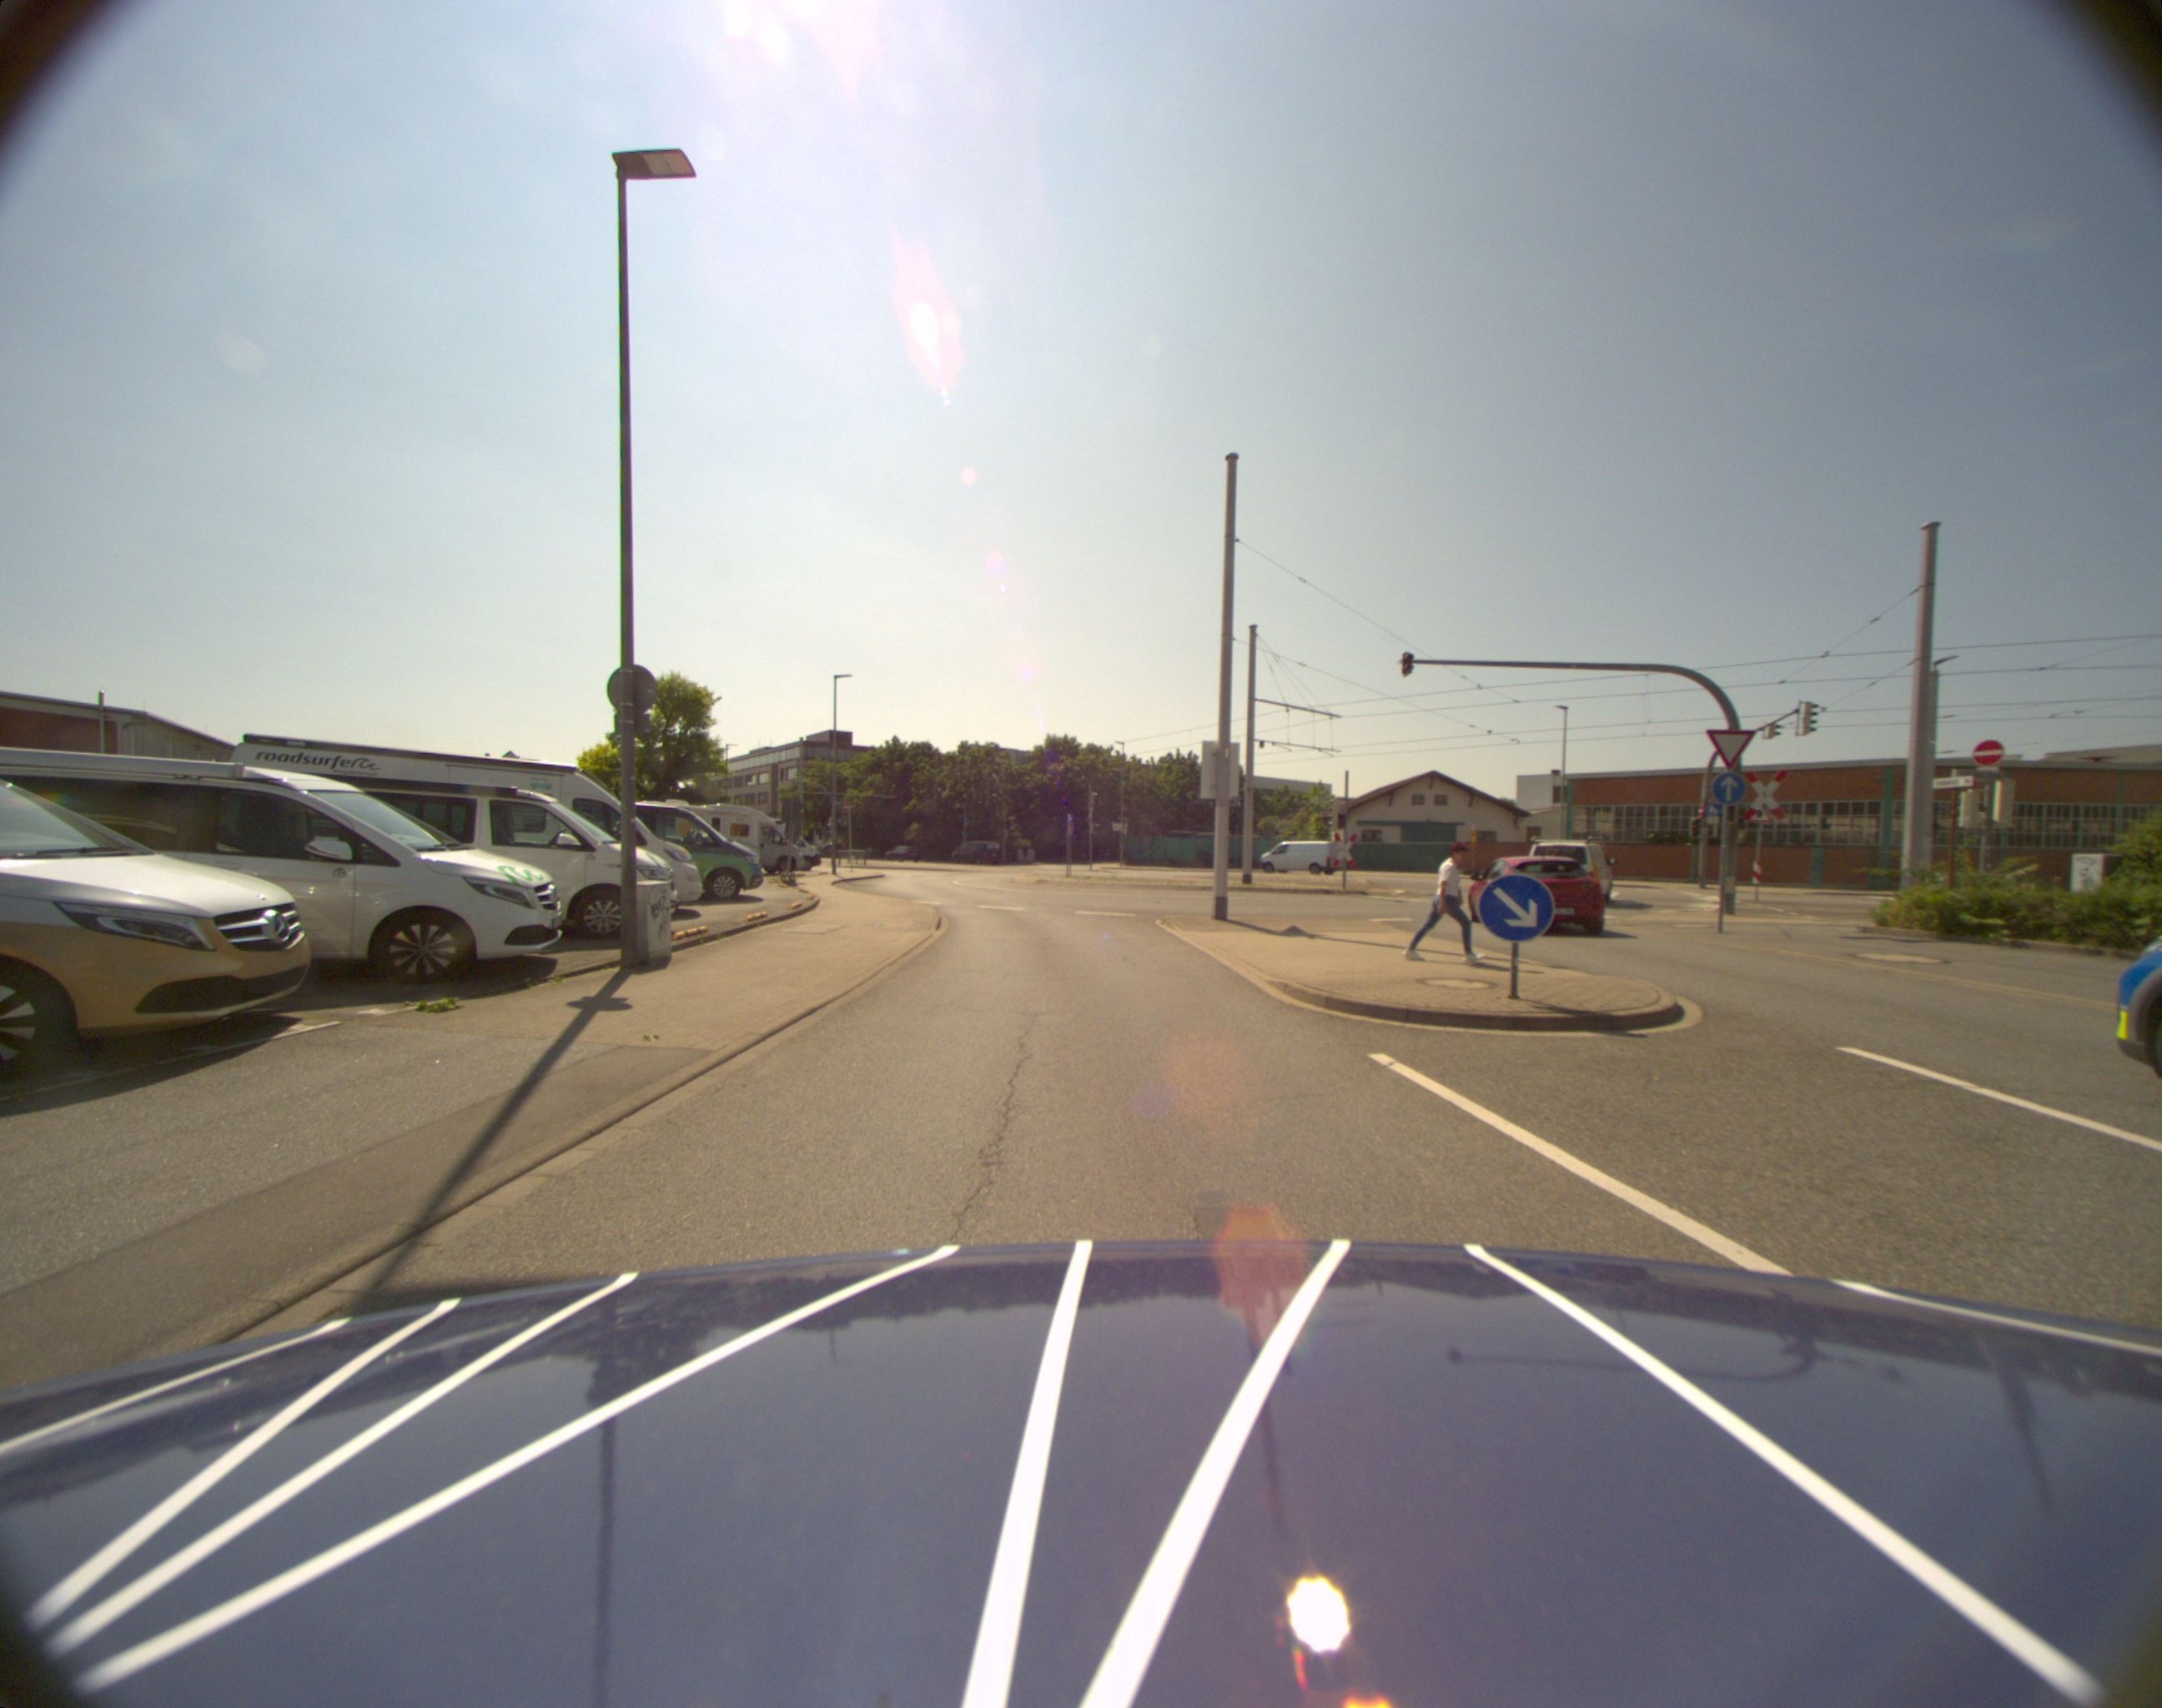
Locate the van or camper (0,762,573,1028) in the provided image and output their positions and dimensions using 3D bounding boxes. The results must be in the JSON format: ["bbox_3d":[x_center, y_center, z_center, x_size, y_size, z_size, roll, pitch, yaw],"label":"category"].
[{"bbox_3d":[-7.894,0.304,7.096,4.990,2.034,2.037,1,2,-26],"label":"van or camper"}]

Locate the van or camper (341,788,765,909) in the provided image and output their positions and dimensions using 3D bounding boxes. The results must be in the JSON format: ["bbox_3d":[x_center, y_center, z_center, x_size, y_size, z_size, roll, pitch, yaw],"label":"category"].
[{"bbox_3d":[-10.616,-0.083,16.161,6.860,2.122,2.778,1,1,-30],"label":"van or camper"}]

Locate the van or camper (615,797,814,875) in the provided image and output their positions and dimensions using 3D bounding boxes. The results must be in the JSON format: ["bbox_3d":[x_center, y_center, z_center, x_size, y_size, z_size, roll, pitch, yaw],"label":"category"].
[{"bbox_3d":[-14.990,-0.673,31.399,6.863,2.868,2.777,0,1,-43],"label":"van or camper"}]

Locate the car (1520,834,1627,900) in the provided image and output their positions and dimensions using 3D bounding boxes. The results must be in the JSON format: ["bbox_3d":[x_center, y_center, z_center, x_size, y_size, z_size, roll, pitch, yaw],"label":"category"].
[{"bbox_3d":[15.937,0.375,24.506,1.991,1.935,4.447,2,1,44],"label":"car"}]

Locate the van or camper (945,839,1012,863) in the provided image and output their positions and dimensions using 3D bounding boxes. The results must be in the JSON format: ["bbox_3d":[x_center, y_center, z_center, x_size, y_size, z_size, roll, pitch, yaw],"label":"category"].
[{"bbox_3d":[-8.308,-0.271,61.403,5.280,1.817,2.509,2,1,42],"label":"van or camper"}]

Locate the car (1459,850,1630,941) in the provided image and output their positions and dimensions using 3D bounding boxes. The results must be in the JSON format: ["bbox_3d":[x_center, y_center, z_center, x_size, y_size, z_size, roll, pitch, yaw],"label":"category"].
[{"bbox_3d":[8.952,0.722,15.076,1.765,1.446,4.112,-2,1,15],"label":"car"}]

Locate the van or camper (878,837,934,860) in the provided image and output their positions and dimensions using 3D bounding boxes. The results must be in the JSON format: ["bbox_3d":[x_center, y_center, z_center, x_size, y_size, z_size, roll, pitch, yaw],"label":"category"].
[{"bbox_3d":[-16.372,-0.536,70.897,5.220,2.002,2.509,2,1,43],"label":"van or camper"}]

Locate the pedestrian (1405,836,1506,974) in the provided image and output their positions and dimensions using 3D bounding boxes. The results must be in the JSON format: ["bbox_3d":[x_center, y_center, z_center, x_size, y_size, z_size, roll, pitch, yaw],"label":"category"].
[{"bbox_3d":[4.803,0.616,9.817,0.995,1.676,0.800,2,1,15],"label":"pedestrian"}]

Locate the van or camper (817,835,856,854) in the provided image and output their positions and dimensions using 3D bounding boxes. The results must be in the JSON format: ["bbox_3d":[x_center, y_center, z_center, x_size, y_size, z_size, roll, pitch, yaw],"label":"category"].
[{"bbox_3d":[-27.028,-1.076,83.987,2.509,2.002,5.221,0,1,-37],"label":"van or camper"}]

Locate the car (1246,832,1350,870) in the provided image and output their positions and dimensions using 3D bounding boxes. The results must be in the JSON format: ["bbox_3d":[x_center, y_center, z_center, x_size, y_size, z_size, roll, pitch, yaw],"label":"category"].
[{"bbox_3d":[12.799,-0.188,45.057,5.515,2.121,2.217,1,2,45],"label":"car"}]

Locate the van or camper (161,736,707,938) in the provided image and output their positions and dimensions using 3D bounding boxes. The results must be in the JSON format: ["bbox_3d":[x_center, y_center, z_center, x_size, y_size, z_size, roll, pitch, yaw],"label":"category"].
[{"bbox_3d":[-9.902,-0.206,12.633,6.375,2.621,2.526,1,1,-32],"label":"van or camper"}]

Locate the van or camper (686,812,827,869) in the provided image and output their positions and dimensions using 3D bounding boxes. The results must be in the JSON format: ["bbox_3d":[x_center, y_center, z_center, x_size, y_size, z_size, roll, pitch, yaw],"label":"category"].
[{"bbox_3d":[-16.292,-0.622,38.311,6.071,2.629,2.778,1,1,-36],"label":"van or camper"}]

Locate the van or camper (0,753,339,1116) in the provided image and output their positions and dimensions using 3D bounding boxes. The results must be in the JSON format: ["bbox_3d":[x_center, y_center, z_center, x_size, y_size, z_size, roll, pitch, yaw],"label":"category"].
[{"bbox_3d":[-7.886,0.347,4.127,5.144,1.950,1.982,2,2,-26],"label":"van or camper"}]

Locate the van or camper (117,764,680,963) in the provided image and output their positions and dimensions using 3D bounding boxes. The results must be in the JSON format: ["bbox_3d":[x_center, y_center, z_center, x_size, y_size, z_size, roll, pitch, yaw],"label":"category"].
[{"bbox_3d":[-8.294,0.109,10.174,5.148,2.064,2.446,1,1,-28],"label":"van or camper"}]

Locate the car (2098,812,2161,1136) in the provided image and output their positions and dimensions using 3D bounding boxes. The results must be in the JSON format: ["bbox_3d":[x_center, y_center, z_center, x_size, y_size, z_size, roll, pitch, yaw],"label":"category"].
[{"bbox_3d":[6.472,0.684,2.067,1.896,1.748,4.356,1,1,9],"label":"car"}]
